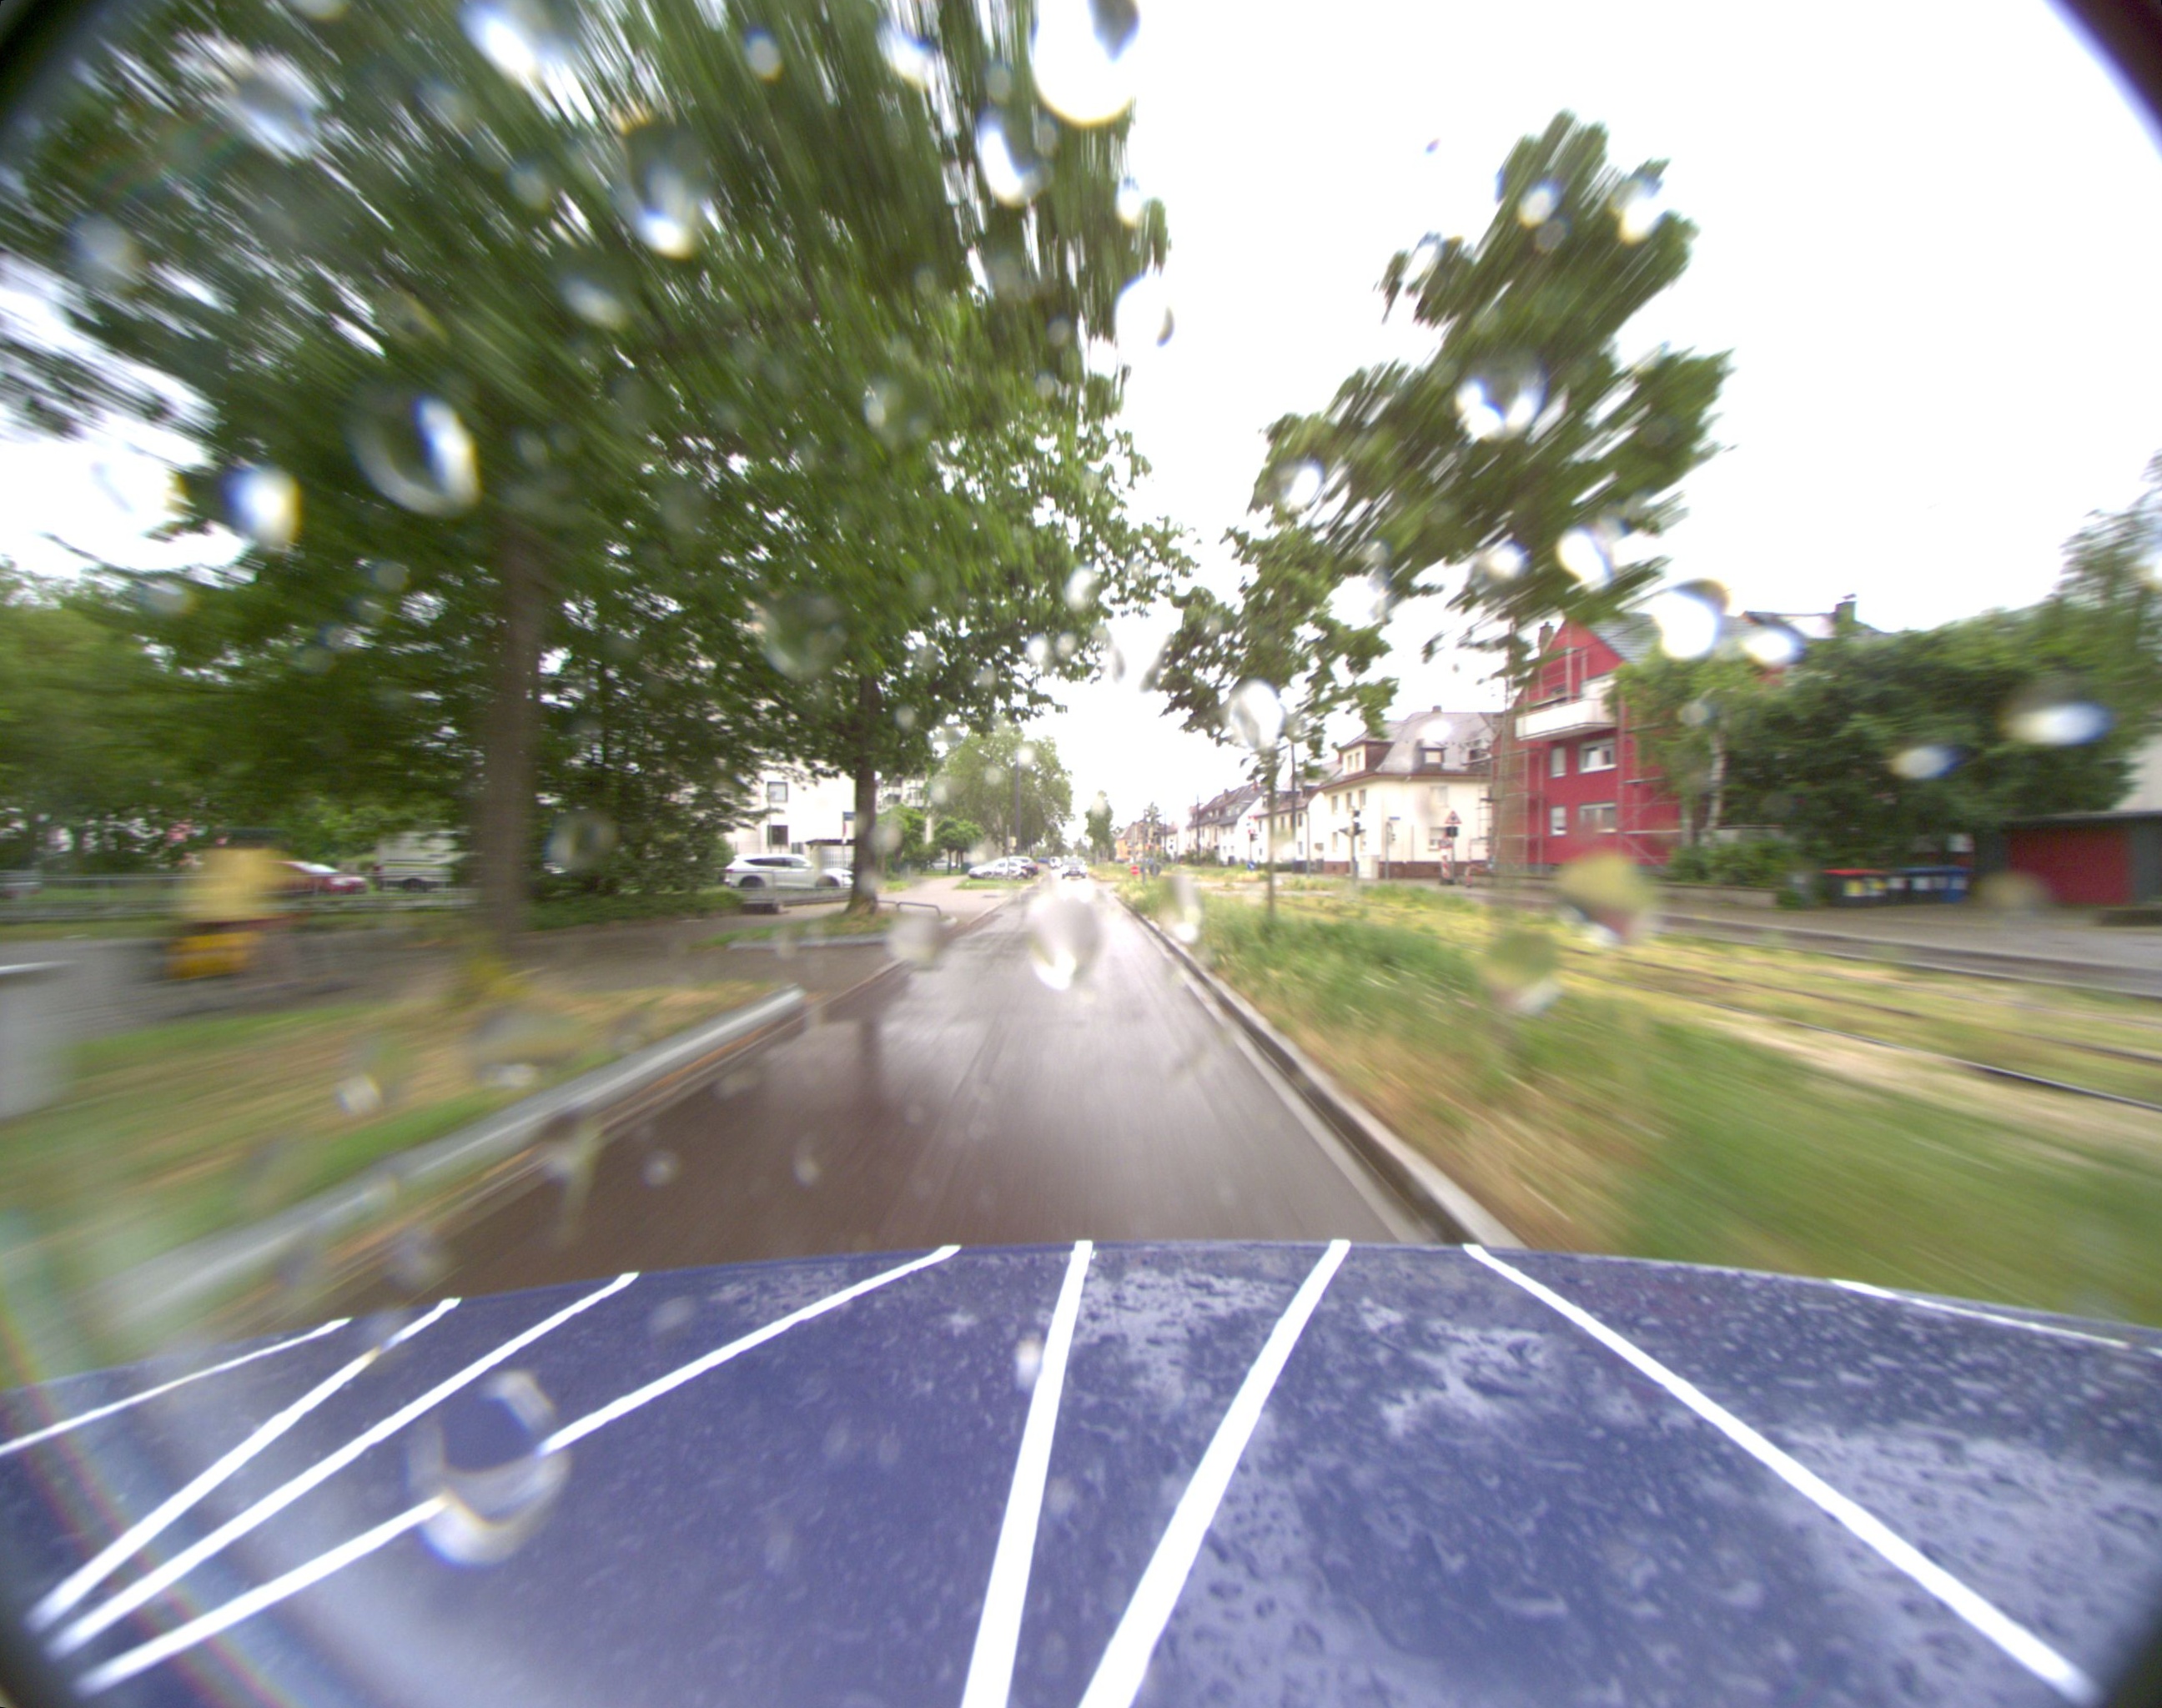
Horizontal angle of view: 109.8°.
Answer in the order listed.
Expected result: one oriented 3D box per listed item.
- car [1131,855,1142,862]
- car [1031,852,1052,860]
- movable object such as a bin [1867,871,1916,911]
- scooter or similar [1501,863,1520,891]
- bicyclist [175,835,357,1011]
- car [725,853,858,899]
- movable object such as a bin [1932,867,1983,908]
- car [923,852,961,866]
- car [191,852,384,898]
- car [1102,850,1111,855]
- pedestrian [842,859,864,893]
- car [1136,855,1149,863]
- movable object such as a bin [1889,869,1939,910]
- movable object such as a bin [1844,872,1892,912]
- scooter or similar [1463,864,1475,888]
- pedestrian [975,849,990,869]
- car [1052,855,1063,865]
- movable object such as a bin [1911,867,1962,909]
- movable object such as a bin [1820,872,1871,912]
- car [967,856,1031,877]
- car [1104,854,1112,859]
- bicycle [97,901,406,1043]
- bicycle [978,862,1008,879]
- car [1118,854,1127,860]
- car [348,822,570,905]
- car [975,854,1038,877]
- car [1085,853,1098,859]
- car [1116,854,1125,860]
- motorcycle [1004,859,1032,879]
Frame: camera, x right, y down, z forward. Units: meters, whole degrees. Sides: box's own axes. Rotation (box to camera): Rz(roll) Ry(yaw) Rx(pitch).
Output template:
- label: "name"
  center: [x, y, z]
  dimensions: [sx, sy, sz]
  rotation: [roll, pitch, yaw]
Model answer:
- label: "car"
  center: [11.573, 1.022, 158.476]
  dimensions: [1.715, 1.432, 3.998]
  rotation: [1, 0, -3]
- label: "car"
  center: [-8.066, 0.393, 154.968]
  dimensions: [4.007, 1.518, 1.715]
  rotation: [0, 0, -35]
- label: "movable object such as a bin"
  center: [22.707, 1.023, 21.300]
  dimensions: [0.561, 1.075, 0.758]
  rotation: [0, 0, 1]
- label: "scooter or similar"
  center: [19.052, 1.014, 33.728]
  dimensions: [0.394, 1.173, 1.284]
  rotation: [0, 1, 15]
- label: "bicyclist"
  center: [-7.827, 0.625, 7.353]
  dimensions: [0.736, 1.584, 0.944]
  rotation: [0, 0, 0]
- label: "car"
  center: [-11.627, 0.838, 30.888]
  dimensions: [4.821, 1.735, 1.997]
  rotation: [0, 0, -15]
- label: "movable object such as a bin"
  center: [24.609, 0.931, 21.343]
  dimensions: [0.561, 1.132, 0.758]
  rotation: [0, 0, 1]
- label: "car"
  center: [-16.756, 0.561, 91.696]
  dimensions: [4.304, 1.671, 1.871]
  rotation: [0, 1, 1]
- label: "car"
  center: [-28.098, 0.708, 27.065]
  dimensions: [4.419, 1.517, 1.905]
  rotation: [0, 0, -12]
- label: "car"
  center: [7.802, -0.536, 232.600]
  dimensions: [2.097, 1.423, 4.076]
  rotation: [0, 0, -4]
- label: "pedestrian"
  center: [-10.583, 1.018, 35.230]
  dimensions: [0.841, 1.561, 0.813]
  rotation: [-1, 1, -24]
- label: "car"
  center: [11.960, 0.962, 147.303]
  dimensions: [1.892, 1.522, 4.755]
  rotation: [1, 0, -3]
- label: "movable object such as a bin"
  center: [23.371, 0.984, 21.329]
  dimensions: [0.561, 1.132, 0.758]
  rotation: [0, 0, 1]
- label: "movable object such as a bin"
  center: [22.062, 1.049, 21.307]
  dimensions: [0.561, 1.075, 0.758]
  rotation: [0, 0, 1]
- label: "scooter or similar"
  center: [18.723, 1.055, 36.657]
  dimensions: [0.440, 1.123, 1.285]
  rotation: [0, 1, 30]
- label: "pedestrian"
  center: [-9.327, 0.468, 72.096]
  dimensions: [1.101, 1.803, 1.434]
  rotation: [0, 0, 9]
- label: "car"
  center: [-3.516, 0.858, 114.078]
  dimensions: [1.563, 1.510, 3.999]
  rotation: [0, 0, -3]
- label: "movable object such as a bin"
  center: [24.025, 0.938, 21.342]
  dimensions: [0.561, 1.132, 0.758]
  rotation: [0, 0, 1]
- label: "movable object such as a bin"
  center: [21.428, 1.058, 21.303]
  dimensions: [0.645, 1.085, 0.757]
  rotation: [0, 0, 0]
- label: "car"
  center: [-5.757, 0.897, 53.308]
  dimensions: [4.133, 1.414, 1.734]
  rotation: [1, 0, -37]
- label: "car"
  center: [7.907, 0.800, 223.937]
  dimensions: [1.886, 1.423, 4.076]
  rotation: [0, 0, -4]
- label: "bicycle"
  center: [-7.831, 1.049, 7.364]
  dimensions: [0.736, 1.050, 2.051]
  rotation: [0, 0, 0]
- label: "bicycle"
  center: [-5.771, 1.101, 49.992]
  dimensions: [0.627, 1.095, 1.961]
  rotation: [1, 0, 44]
- label: "car"
  center: [10.139, 0.768, 186.142]
  dimensions: [1.912, 1.581, 3.999]
  rotation: [0, 0, -2]
- label: "car"
  center: [-23.121, 0.319, 28.561]
  dimensions: [6.079, 2.946, 2.127]
  rotation: [0, 1, -15]
- label: "car"
  center: [-5.543, 0.843, 56.760]
  dimensions: [4.358, 1.641, 1.853]
  rotation: [0, 0, -33]
- label: "car"
  center: [3.355, 0.653, 250.448]
  dimensions: [3.999, 1.637, 1.893]
  rotation: [1, 0, -6]
- label: "car"
  center: [10.295, 0.727, 199.746]
  dimensions: [1.999, 1.648, 3.999]
  rotation: [-1, 0, 0]
- label: "motorcycle"
  center: [-4.275, 1.025, 51.311]
  dimensions: [1.783, 1.329, 0.687]
  rotation: [1, 0, -37]
